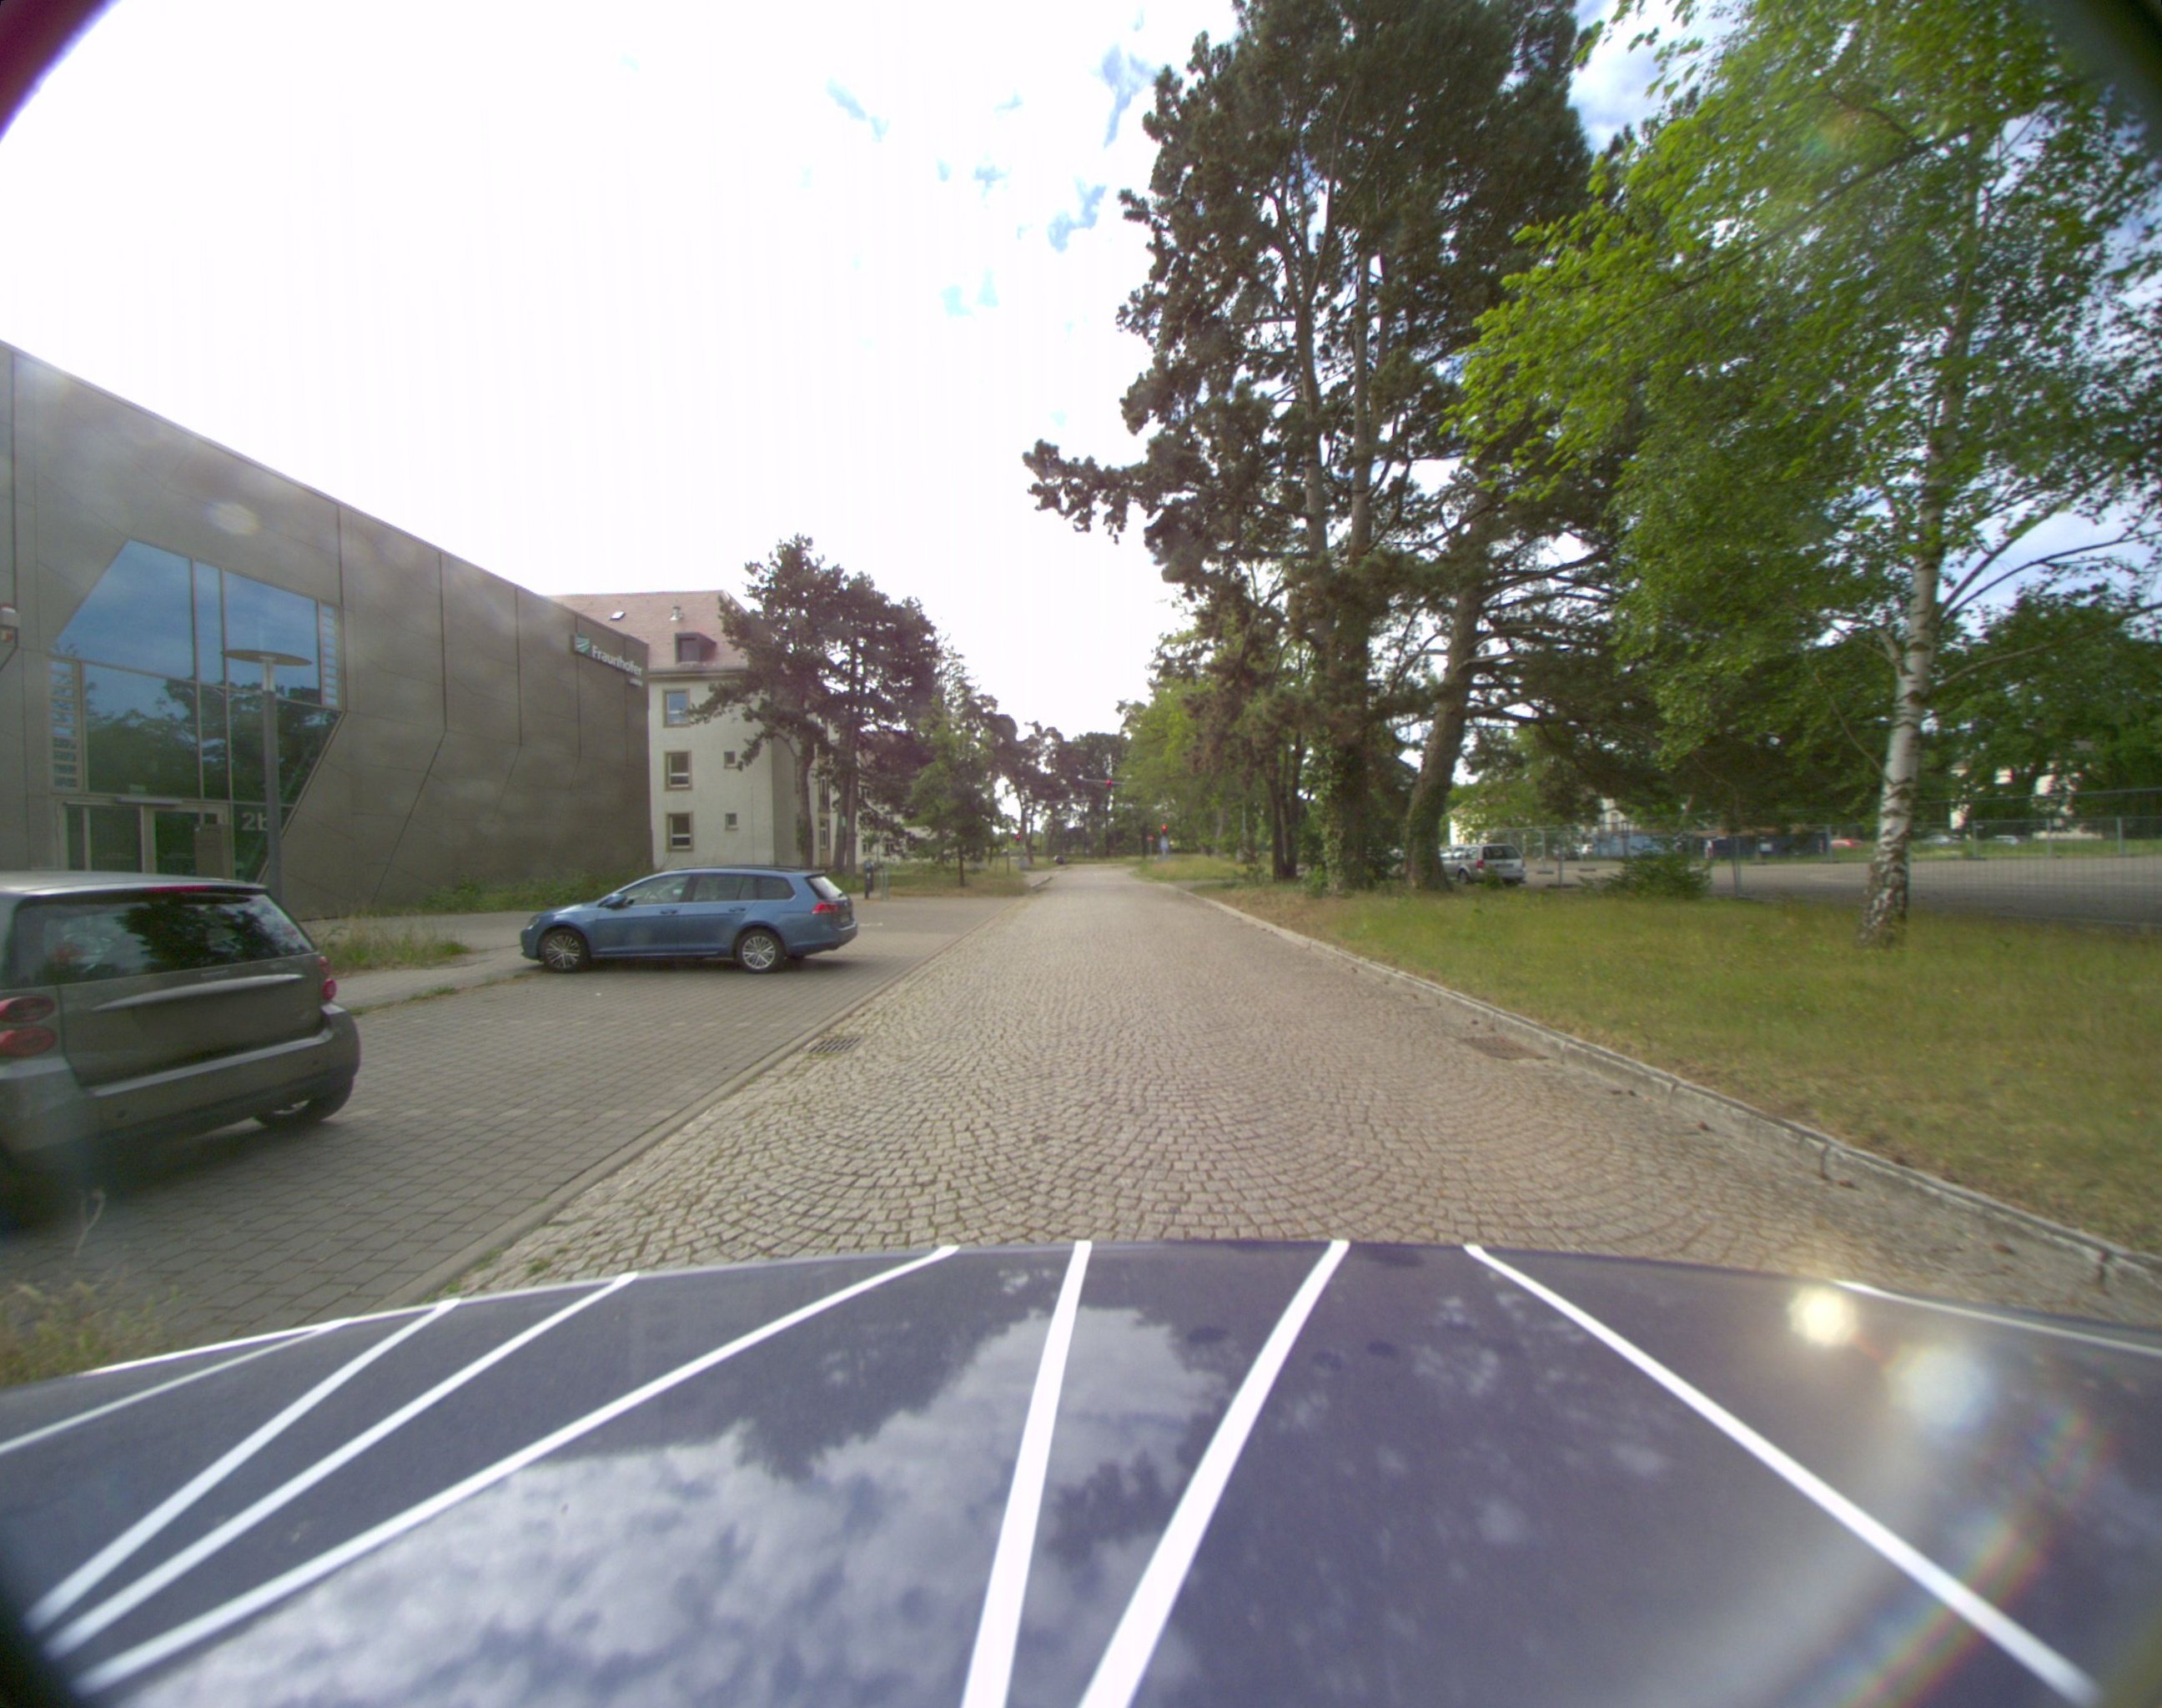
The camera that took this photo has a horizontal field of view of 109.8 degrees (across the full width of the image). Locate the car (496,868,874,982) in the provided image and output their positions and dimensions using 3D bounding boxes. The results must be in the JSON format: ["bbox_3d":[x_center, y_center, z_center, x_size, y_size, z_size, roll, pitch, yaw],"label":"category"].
[{"bbox_3d":[-5.582,0.982,11.200,4.537,1.441,1.931,1,0,-1],"label":"car"}]

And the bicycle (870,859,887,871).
[{"bbox_3d":[-18.833,1.032,70.694,0.799,1.051,2.199,-1,1,4],"label":"bicycle"}]

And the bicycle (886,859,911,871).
[{"bbox_3d":[-16.705,0.991,69.585,2.164,1.051,0.717,-1,1,-3],"label":"bicycle"}]

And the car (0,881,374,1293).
[{"bbox_3d":[-5.734,0.970,3.844,2.748,1.573,1.682,1,1,1],"label":"car"}]

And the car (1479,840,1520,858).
[{"bbox_3d":[40.537,-0.472,73.703,1.611,1.674,3.803,-1,1,-4],"label":"car"}]

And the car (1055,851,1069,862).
[{"bbox_3d":[-3.124,0.332,126.700,1.999,1.777,3.998,-1,1,-5],"label":"car"}]

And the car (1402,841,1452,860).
[{"bbox_3d":[28.676,-0.295,63.178,1.999,1.441,4.451,-1,0,-3],"label":"car"}]

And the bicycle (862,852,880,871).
[{"bbox_3d":[-19.597,0.713,71.032,0.905,1.722,2.199,-1,1,4],"label":"bicycle"}]

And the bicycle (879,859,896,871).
[{"bbox_3d":[-17.983,1.009,70.675,0.799,1.051,2.166,-1,1,4],"label":"bicycle"}]

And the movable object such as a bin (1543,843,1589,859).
[{"bbox_3d":[32.417,-0.211,50.856,1.057,1.065,2.719,-1,1,-8],"label":"movable object such as a bin"}]

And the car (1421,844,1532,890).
[{"bbox_3d":[13.003,0.387,25.224,1.670,1.402,3.723,-1,0,-2],"label":"car"}]

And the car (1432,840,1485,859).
[{"bbox_3d":[31.564,-0.392,63.670,1.999,1.441,4.451,-1,0,-3],"label":"car"}]

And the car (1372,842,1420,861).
[{"bbox_3d":[26.093,-0.214,63.111,1.999,1.441,4.451,-1,0,-3],"label":"car"}]

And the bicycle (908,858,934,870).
[{"bbox_3d":[-14.624,0.910,69.502,2.164,1.089,0.717,-1,1,-3],"label":"bicycle"}]
